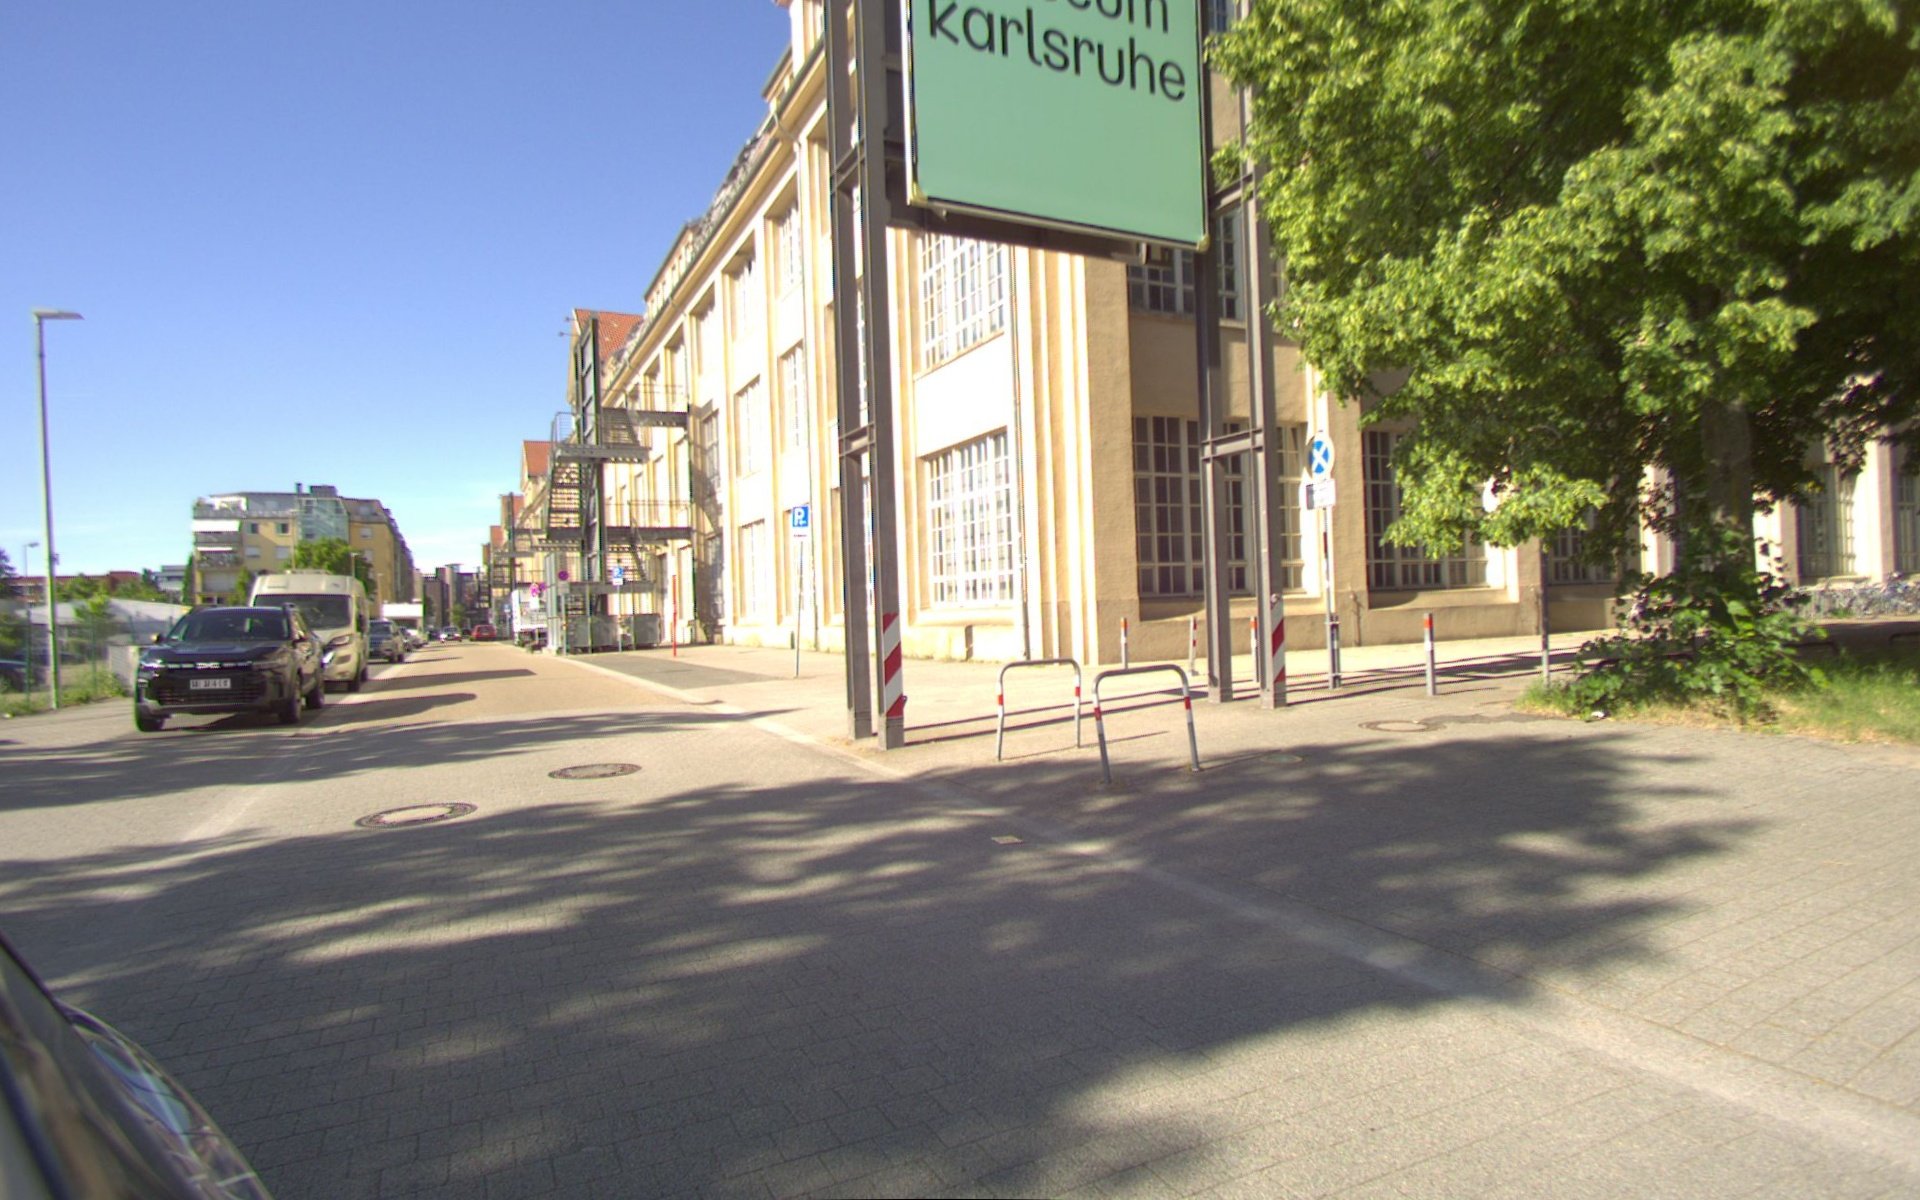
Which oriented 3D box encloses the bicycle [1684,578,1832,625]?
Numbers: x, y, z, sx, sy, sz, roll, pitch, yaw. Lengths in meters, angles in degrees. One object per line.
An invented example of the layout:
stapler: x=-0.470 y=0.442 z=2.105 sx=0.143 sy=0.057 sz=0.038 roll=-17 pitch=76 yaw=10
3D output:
bicycle: x=20.047 y=0.061 z=25.526 sx=0.706 sy=1.071 sz=2.818 roll=-2 pitch=-1 yaw=-31

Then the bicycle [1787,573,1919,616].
bicycle: x=24.209 y=-0.129 z=27.305 sx=0.706 sy=1.071 sz=2.818 roll=-2 pitch=-1 yaw=-31

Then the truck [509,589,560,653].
truck: x=-25.223 y=1.229 z=59.829 sx=2.458 sy=3.457 sz=7.151 roll=-1 pitch=-1 yaw=-25

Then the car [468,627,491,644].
car: x=-42.412 y=3.124 z=89.396 sx=1.731 sy=1.460 sz=4.013 roll=-2 pitch=-1 yaw=-25

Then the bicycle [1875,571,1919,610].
bicycle: x=29.601 y=-0.308 z=30.596 sx=0.706 sy=1.159 sz=2.748 roll=-2 pitch=-1 yaw=-31

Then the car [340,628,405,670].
car: x=-22.423 y=1.834 z=38.752 sx=1.819 sy=1.436 sz=4.238 roll=-1 pitch=-1 yaw=-26

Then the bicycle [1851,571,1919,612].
bicycle: x=28.026 y=-0.269 z=29.673 sx=0.706 sy=1.159 sz=2.748 roll=-2 pitch=-1 yaw=-31

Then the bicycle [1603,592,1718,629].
bicycle: x=17.441 y=0.257 z=25.196 sx=2.834 sy=0.798 sz=0.783 roll=-2 pitch=-1 yaw=-19

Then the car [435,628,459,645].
car: x=-45.988 y=3.235 z=90.708 sx=1.819 sy=1.436 sz=4.238 roll=-1 pitch=-1 yaw=-26

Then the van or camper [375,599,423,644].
van or camper: x=-37.613 y=1.449 z=67.965 sx=2.677 sy=2.879 sz=5.150 roll=-1 pitch=-1 yaw=-28

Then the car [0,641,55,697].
car: x=-29.266 y=2.085 z=29.271 sx=4.169 sy=1.572 sz=1.904 roll=-2 pitch=-1 yaw=-24

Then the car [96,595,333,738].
car: x=-10.544 y=0.871 z=14.673 sx=1.965 sy=1.708 sz=4.116 roll=-1 pitch=-1 yaw=-25

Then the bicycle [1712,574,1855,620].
bicycle: x=21.422 y=-0.056 z=26.433 sx=0.706 sy=1.071 sz=2.819 roll=-2 pitch=-1 yaw=-27

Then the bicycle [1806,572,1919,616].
bicycle: x=25.918 y=-0.170 z=28.721 sx=0.706 sy=1.159 sz=2.818 roll=-2 pitch=-1 yaw=-31

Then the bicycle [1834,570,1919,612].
bicycle: x=27.295 y=-0.267 z=29.399 sx=0.706 sy=1.159 sz=2.748 roll=-2 pitch=-1 yaw=-31

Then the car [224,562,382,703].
car: x=-14.193 y=0.648 z=22.256 sx=2.127 sy=2.616 sz=6.304 roll=-1 pitch=0 yaw=-26
